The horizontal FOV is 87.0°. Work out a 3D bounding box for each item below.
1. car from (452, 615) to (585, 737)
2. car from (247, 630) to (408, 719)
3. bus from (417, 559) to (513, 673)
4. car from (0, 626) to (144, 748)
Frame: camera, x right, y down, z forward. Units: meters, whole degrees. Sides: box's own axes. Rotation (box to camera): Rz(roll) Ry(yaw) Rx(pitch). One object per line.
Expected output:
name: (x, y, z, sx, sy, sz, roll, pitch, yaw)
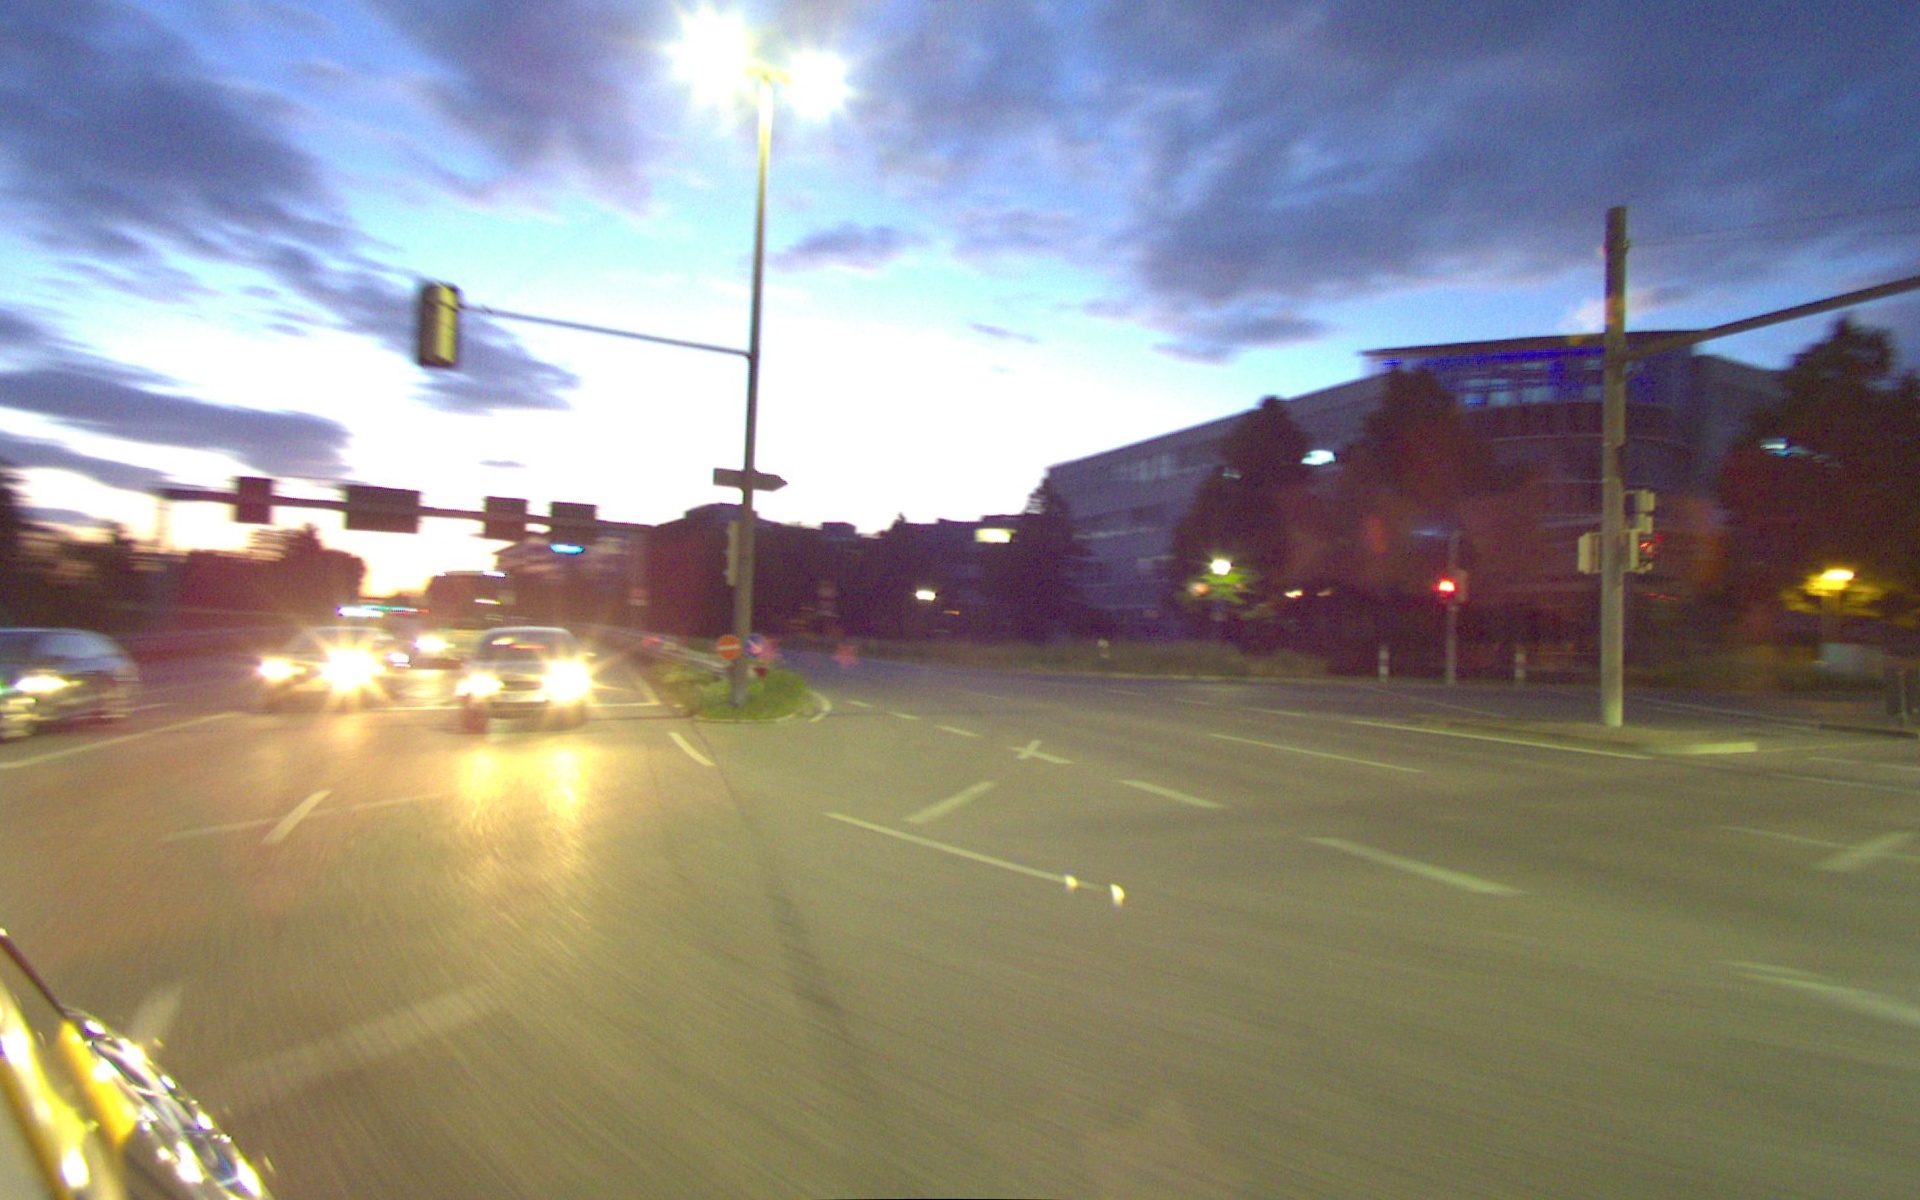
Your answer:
car: (-6.943, 1.107, 16.275, 1.642, 1.665, 4.425, 0, -2, -20)
car: (-11.687, 1.310, 18.969, 1.642, 1.492, 3.787, 1, -2, -17)
bus: (-19.291, 0.685, 40.045, 2.570, 3.819, 12.315, 0, -2, -22)
car: (-13.021, 1.092, 13.590, 1.765, 1.454, 4.548, 2, -2, -20)
